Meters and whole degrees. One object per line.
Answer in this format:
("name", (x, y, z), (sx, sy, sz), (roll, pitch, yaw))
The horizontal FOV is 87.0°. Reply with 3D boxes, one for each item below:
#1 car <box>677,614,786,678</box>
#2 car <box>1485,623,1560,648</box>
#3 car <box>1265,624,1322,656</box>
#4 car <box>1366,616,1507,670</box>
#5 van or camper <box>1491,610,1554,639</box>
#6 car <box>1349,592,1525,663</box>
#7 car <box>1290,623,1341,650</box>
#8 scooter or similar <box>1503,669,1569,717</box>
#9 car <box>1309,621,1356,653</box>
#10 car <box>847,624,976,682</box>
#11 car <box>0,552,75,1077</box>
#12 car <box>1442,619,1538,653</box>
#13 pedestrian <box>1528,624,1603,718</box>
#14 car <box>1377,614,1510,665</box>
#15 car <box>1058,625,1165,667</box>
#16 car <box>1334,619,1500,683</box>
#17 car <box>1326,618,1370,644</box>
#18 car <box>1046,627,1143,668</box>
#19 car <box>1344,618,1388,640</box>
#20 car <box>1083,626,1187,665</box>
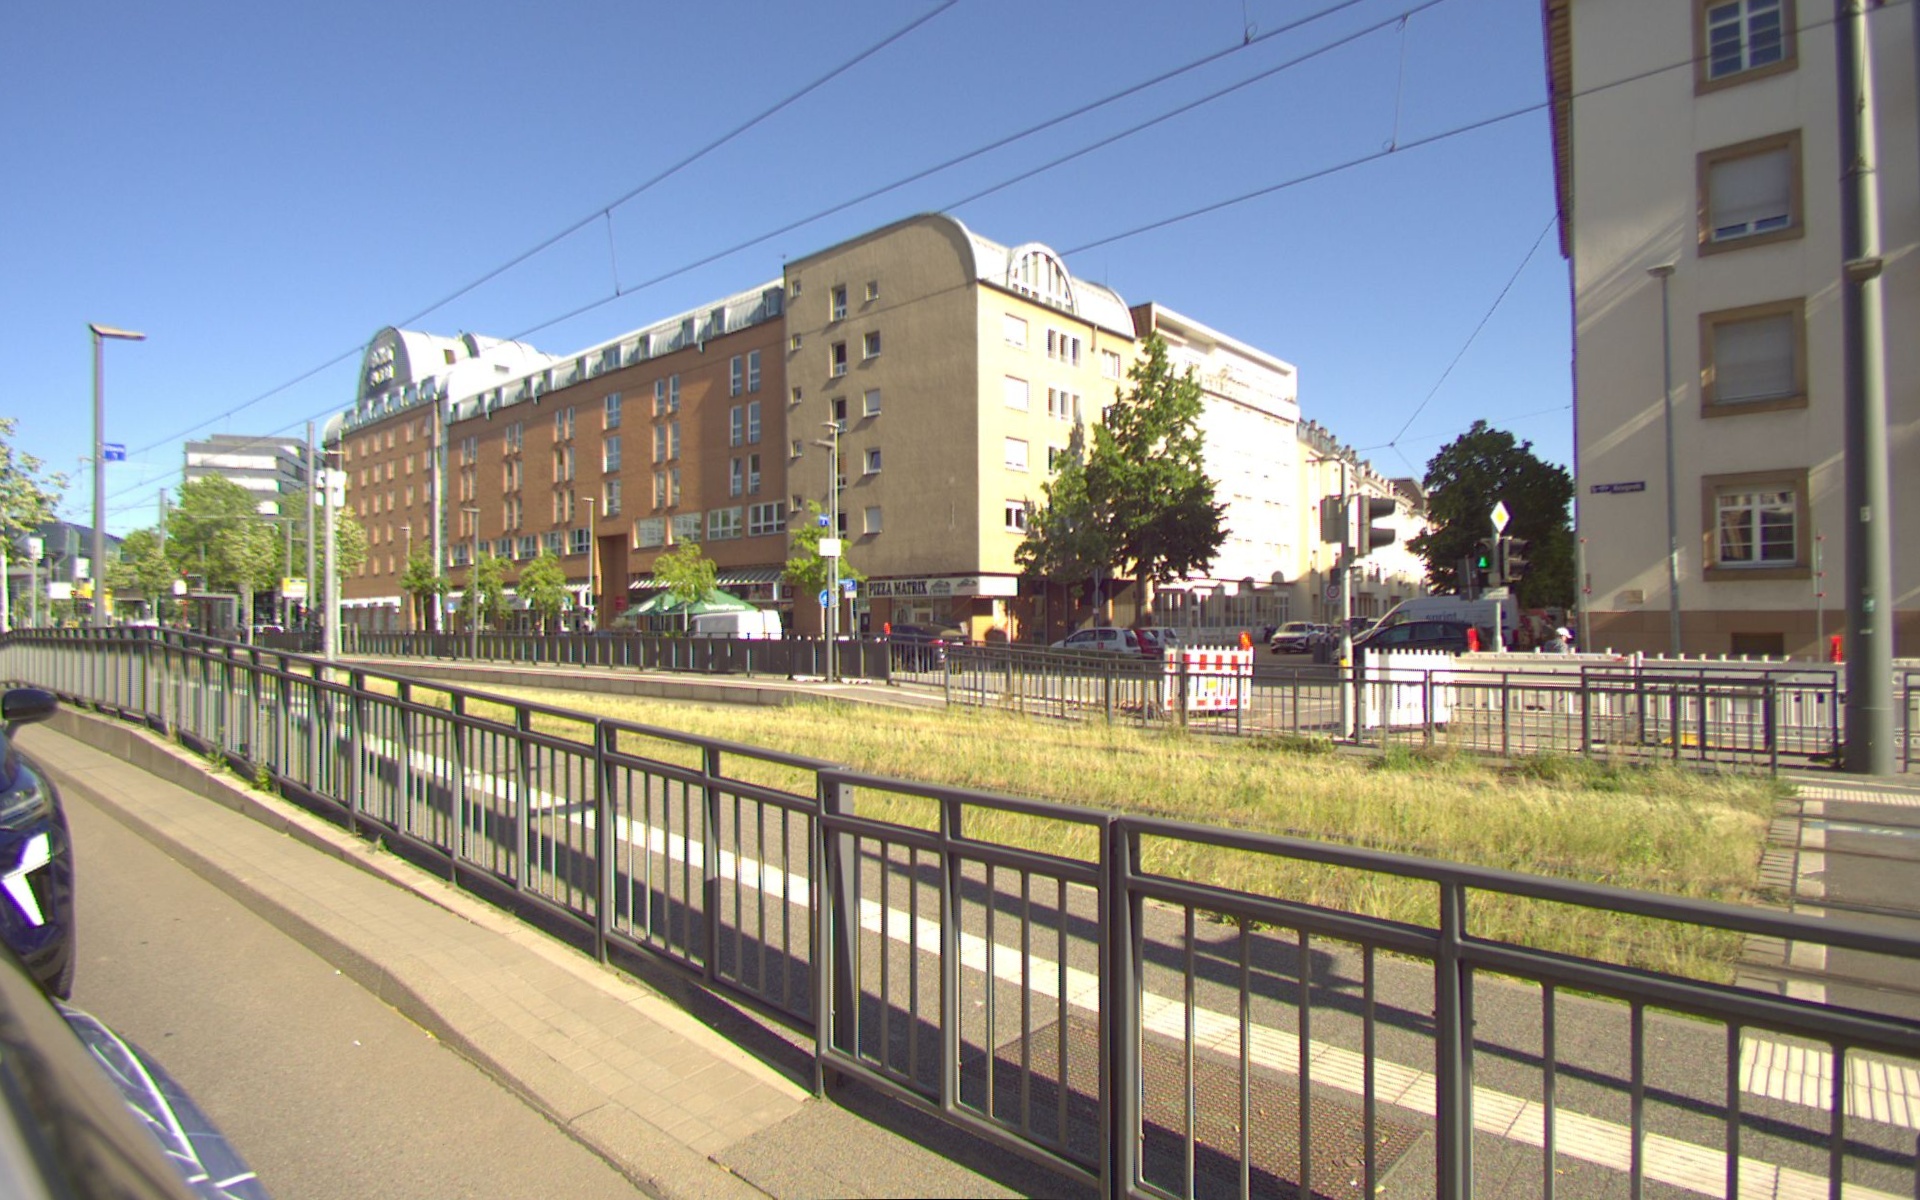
("car", (-9.091, 1.754, 40.005), (1.969, 2.314, 5.197), (-1, 0, -41))
("car", (35.027, 2.184, 63.040), (3.986, 1.440, 1.760), (-1, 0, 32))
("car", (17.733, 2.105, 53.709), (1.993, 1.630, 4.141), (-1, -2, 31))
("car", (15.697, 1.362, 33.381), (3.989, 1.652, 1.848), (-1, 0, 33))
("van or camper", (44.858, 1.908, 80.767), (4.332, 2.231, 1.931), (-1, 0, 32))
("car", (17.643, 0.977, 37.580), (5.737, 2.473, 1.979), (-1, 0, 32))
("car", (20.513, 2.090, 58.289), (1.993, 1.457, 4.141), (-1, -2, 31))
("scooter or similar", (9.424, 1.505, 16.563), (0.597, 0.725, 0.713), (0, -2, -21))
("car", (22.795, 2.226, 61.817), (1.839, 1.730, 4.033), (-1, 0, 34))
("car", (-1.587, 1.626, 32.104), (3.996, 1.652, 1.677), (-1, 0, 39))
("car", (-5.058, 0.728, 4.005), (4.418, 1.597, 1.736), (-2, 1, 41))
("car", (25.747, 1.728, 49.190), (3.988, 1.567, 1.848), (-1, 0, 33))
("pedestrian", (10.072, 1.160, 16.853), (0.792, 1.515, 0.713), (0, -2, -22))
("car", (16.823, 1.347, 35.269), (3.989, 1.652, 1.848), (-1, 0, 33))
("car", (6.021, 1.795, 40.376), (3.955, 1.564, 1.457), (-1, 0, 33))
("car", (12.969, 1.399, 28.816), (3.994, 1.652, 1.846), (-1, 0, 37))
("car", (25.290, 2.011, 65.864), (1.993, 1.630, 4.141), (-1, -2, 31))
("car", (5.090, 1.781, 38.352), (3.334, 1.438, 1.424), (-1, 0, 29))
("car", (28.277, 2.041, 70.434), (1.995, 1.473, 4.137), (-1, -2, 34))
("car", (7.331, 1.875, 42.594), (3.997, 1.497, 1.693), (-1, 0, 40))
